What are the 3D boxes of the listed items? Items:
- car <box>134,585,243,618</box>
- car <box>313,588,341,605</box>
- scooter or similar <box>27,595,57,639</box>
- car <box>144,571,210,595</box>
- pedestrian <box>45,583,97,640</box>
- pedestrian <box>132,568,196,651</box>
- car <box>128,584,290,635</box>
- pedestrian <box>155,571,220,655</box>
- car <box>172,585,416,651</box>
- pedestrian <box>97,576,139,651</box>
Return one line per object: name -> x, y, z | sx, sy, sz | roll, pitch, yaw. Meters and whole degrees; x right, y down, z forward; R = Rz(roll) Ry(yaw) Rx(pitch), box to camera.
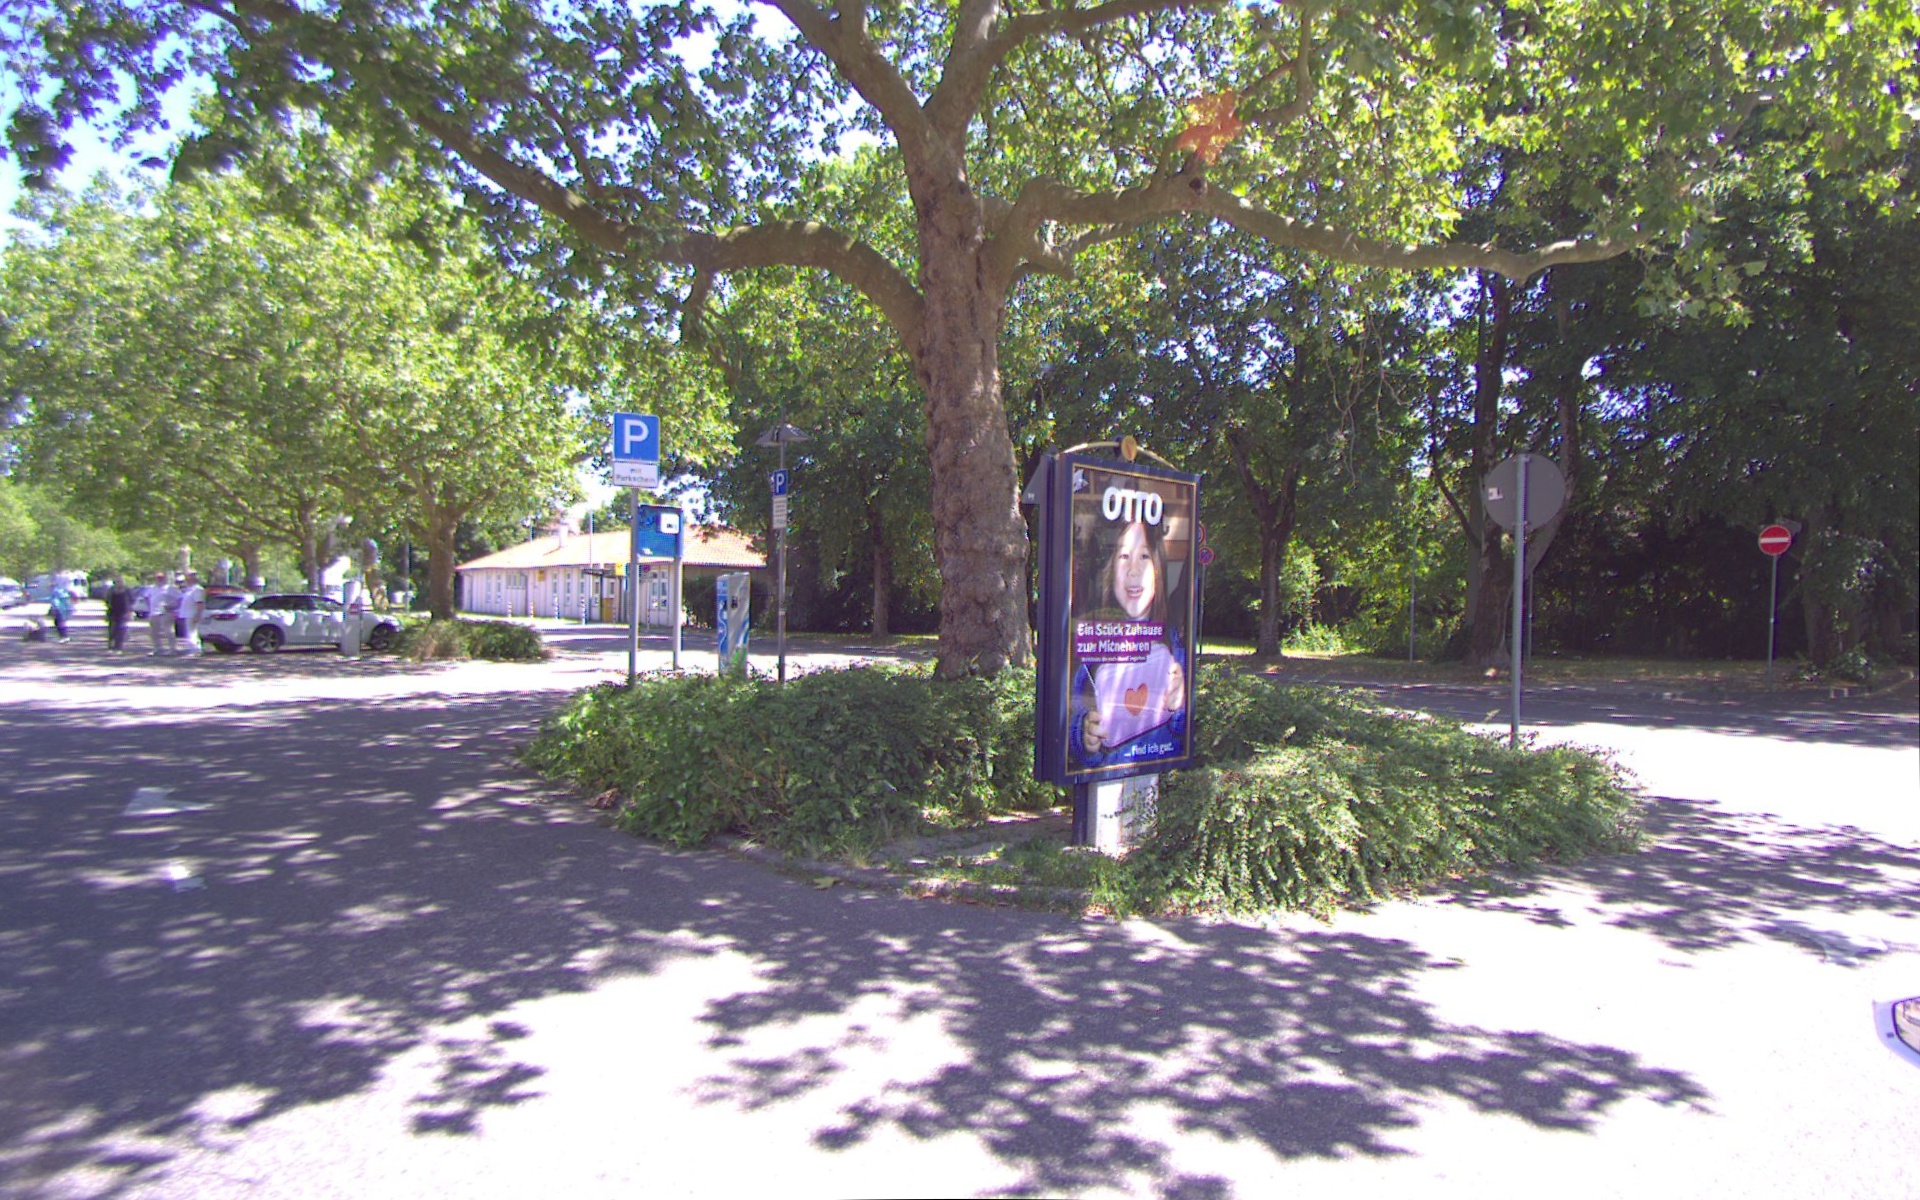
car -> -36.699, 0.059, 47.871 | 1.604, 1.480, 3.876 | 1, 0, 19
car -> -67.611, -0.391, 107.278 | 1.886, 1.798, 3.949 | 1, 0, -43
scooter or similar -> -23.473, 0.435, 25.692 | 0.396, 1.116, 0.436 | 1, 0, -13
car -> -49.905, -1.079, 64.048 | 1.444, 1.413, 3.144 | 2, 1, 42
pedestrian -> -22.876, 0.291, 25.867 | 0.679, 1.443, 0.799 | 1, 0, -13
pedestrian -> -17.713, 0.207, 22.365 | 0.836, 1.794, 0.837 | 1, 0, 29
car -> -23.666, 0.289, 31.832 | 1.604, 1.480, 3.876 | 1, 0, 19
pedestrian -> -16.818, 0.276, 21.879 | 0.836, 1.794, 0.838 | 1, 0, 27
car -> -16.270, 0.410, 24.838 | 1.754, 1.436, 4.771 | 1, 0, 28
pedestrian -> -17.928, 0.282, 21.382 | 0.602, 1.568, 0.586 | 1, 0, 44
